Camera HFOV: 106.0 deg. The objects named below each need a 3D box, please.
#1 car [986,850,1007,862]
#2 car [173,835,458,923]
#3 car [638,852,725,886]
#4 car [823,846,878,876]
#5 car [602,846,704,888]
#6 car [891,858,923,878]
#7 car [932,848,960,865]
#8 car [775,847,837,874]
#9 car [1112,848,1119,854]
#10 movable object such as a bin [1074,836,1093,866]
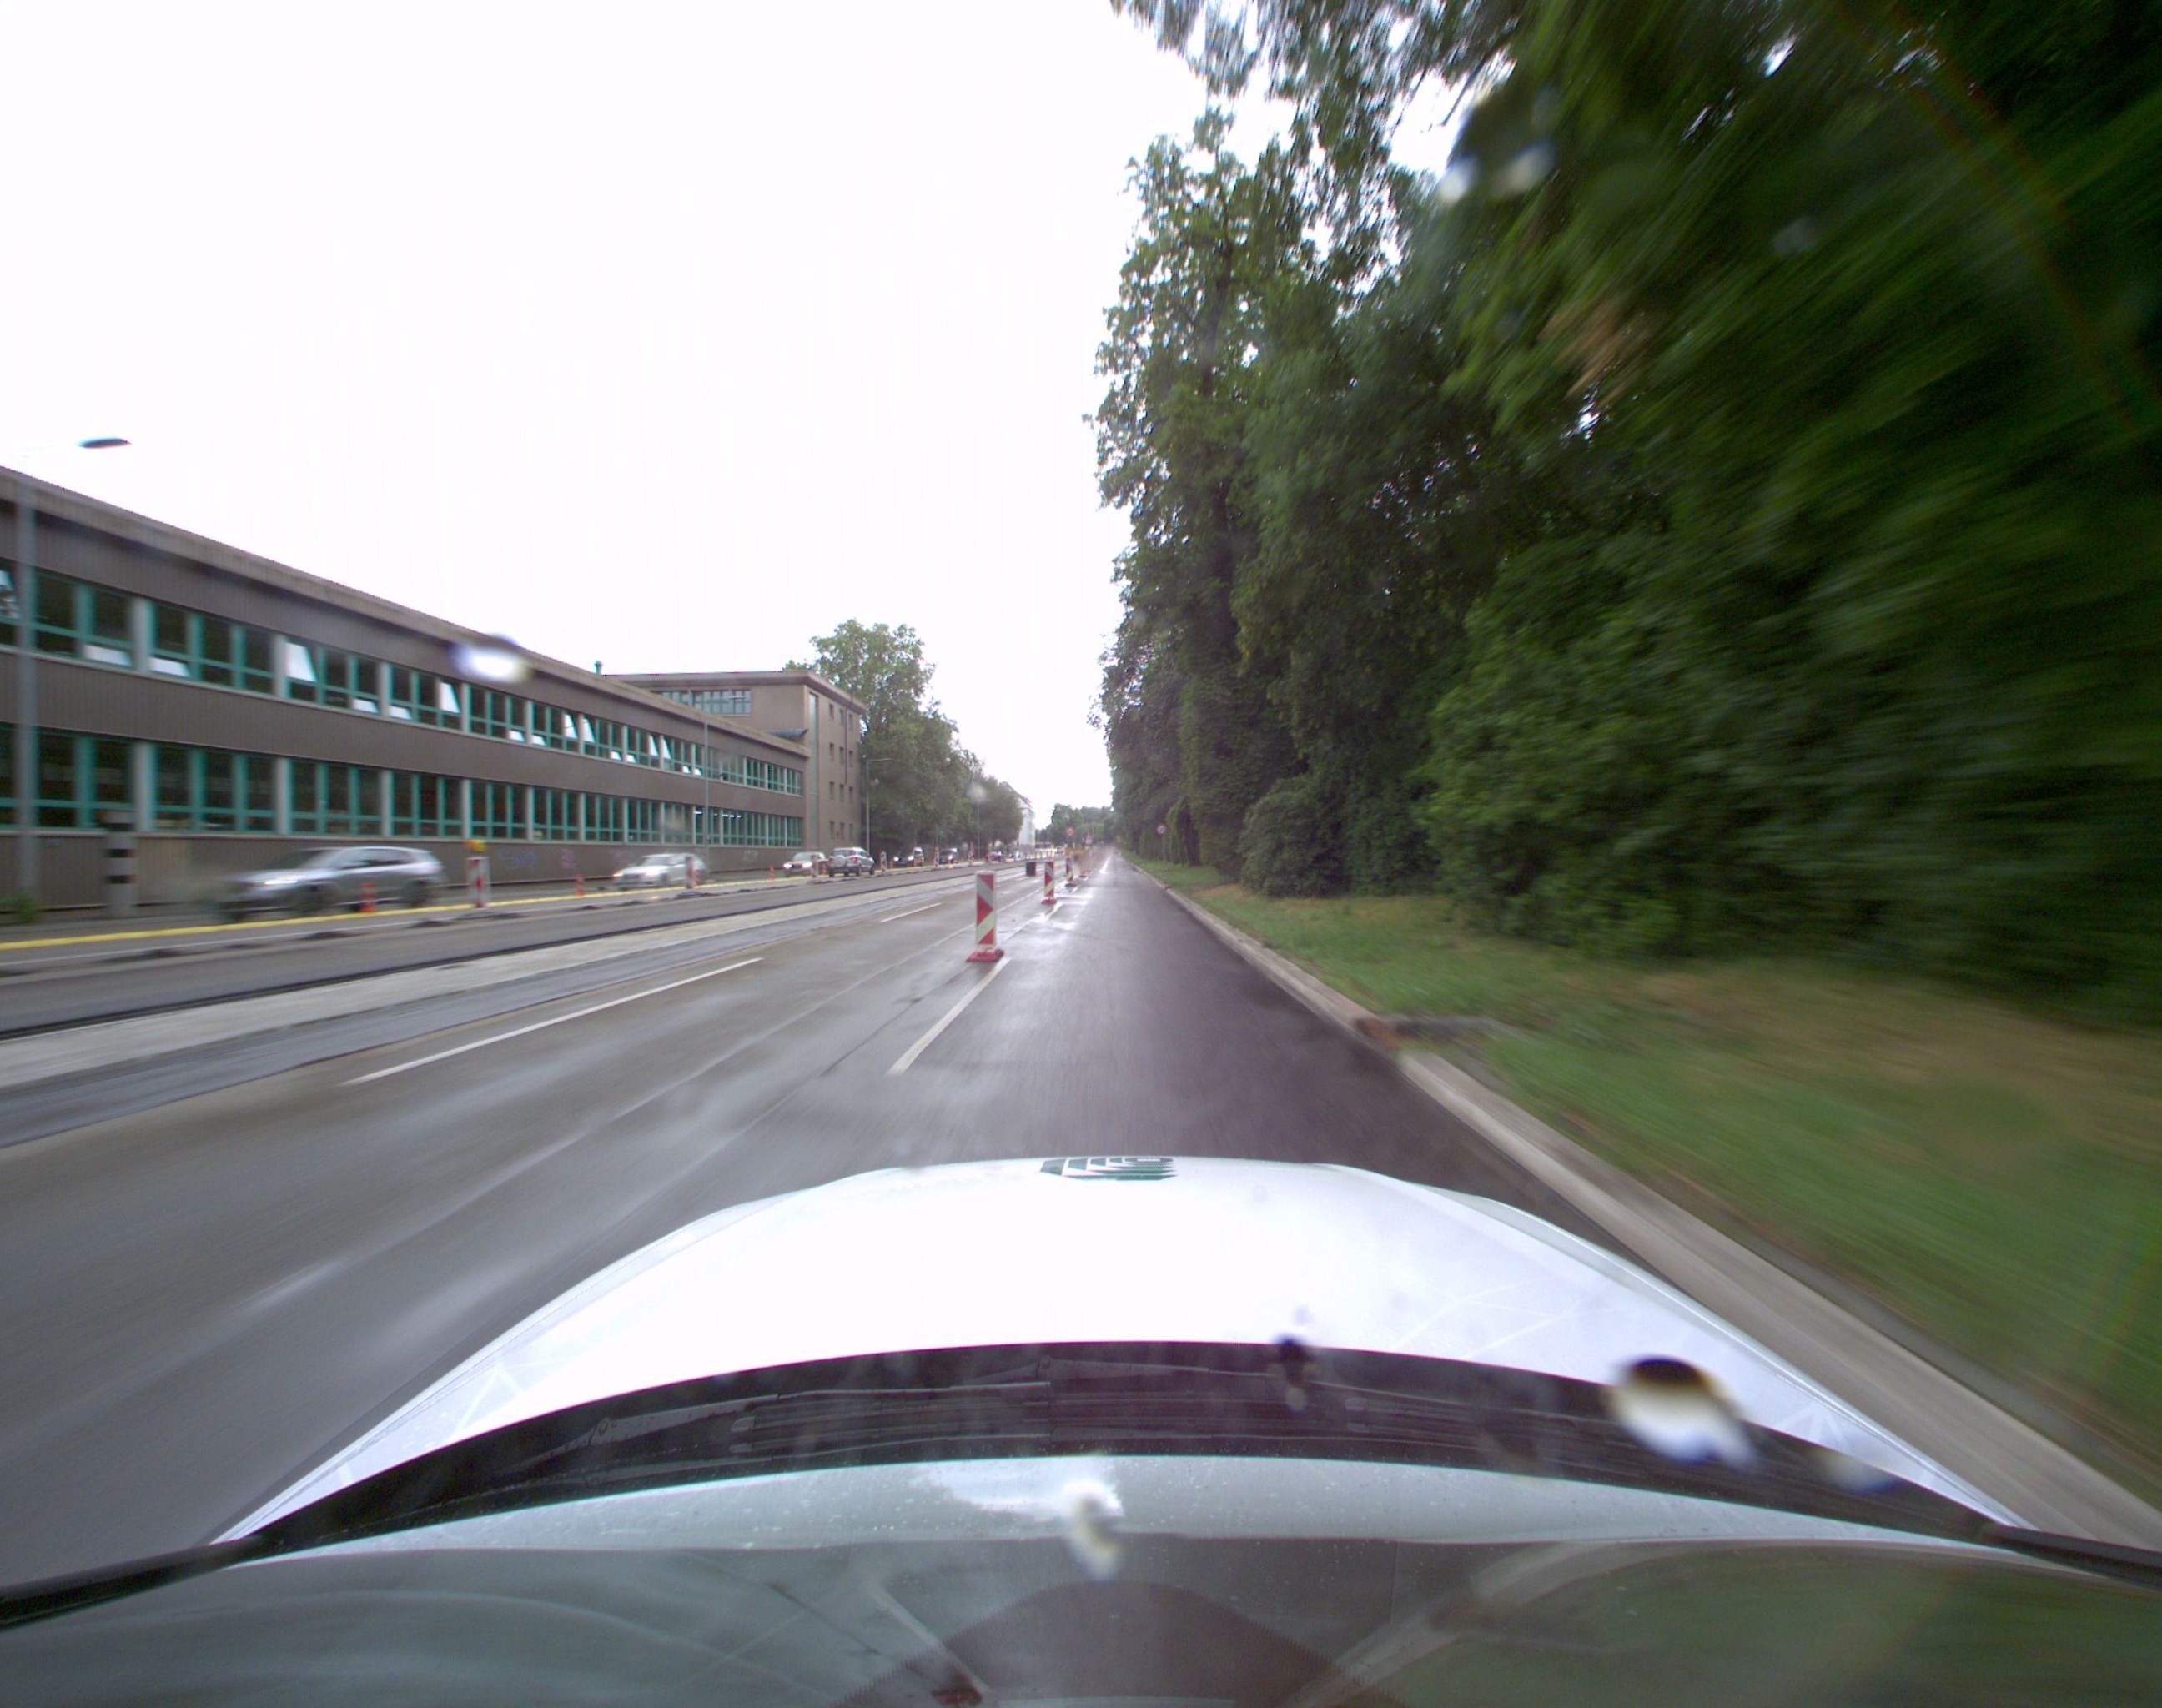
[{"bbox_3d":[-10.552,0.271,101.961,1.986,1.519,4.002,0,0,2],"label":"car"},{"bbox_3d":[-17.344,0.505,18.883,1.980,1.768,4.679,0,0,4],"label":"car"},{"bbox_3d":[-19.272,0.689,39.512,1.986,1.586,4.181,0,0,2],"label":"car"},{"bbox_3d":[-12.966,0.369,46.091,1.847,1.648,4.002,0,0,2],"label":"car"},{"bbox_3d":[-16.822,0.474,32.238,1.796,1.534,3.994,0,0,2],"label":"car"},{"bbox_3d":[-17.473,1.390,82.073,1.986,1.919,5.365,0,0,1],"label":"car"},{"bbox_3d":[-14.979,0.247,90.467,1.984,1.780,4.960,0,0,4],"label":"car"},{"bbox_3d":[-16.146,0.365,48.093,1.885,1.502,4.520,0,0,4],"label":"car"},{"bbox_3d":[9.015,-0.824,213.650,1.986,1.673,4.002,0,0,2],"label":"car"},{"bbox_3d":[0.292,-0.309,95.855,1.986,3.367,5.986,0,0,2],"label":"movable object such as a bin"}]
